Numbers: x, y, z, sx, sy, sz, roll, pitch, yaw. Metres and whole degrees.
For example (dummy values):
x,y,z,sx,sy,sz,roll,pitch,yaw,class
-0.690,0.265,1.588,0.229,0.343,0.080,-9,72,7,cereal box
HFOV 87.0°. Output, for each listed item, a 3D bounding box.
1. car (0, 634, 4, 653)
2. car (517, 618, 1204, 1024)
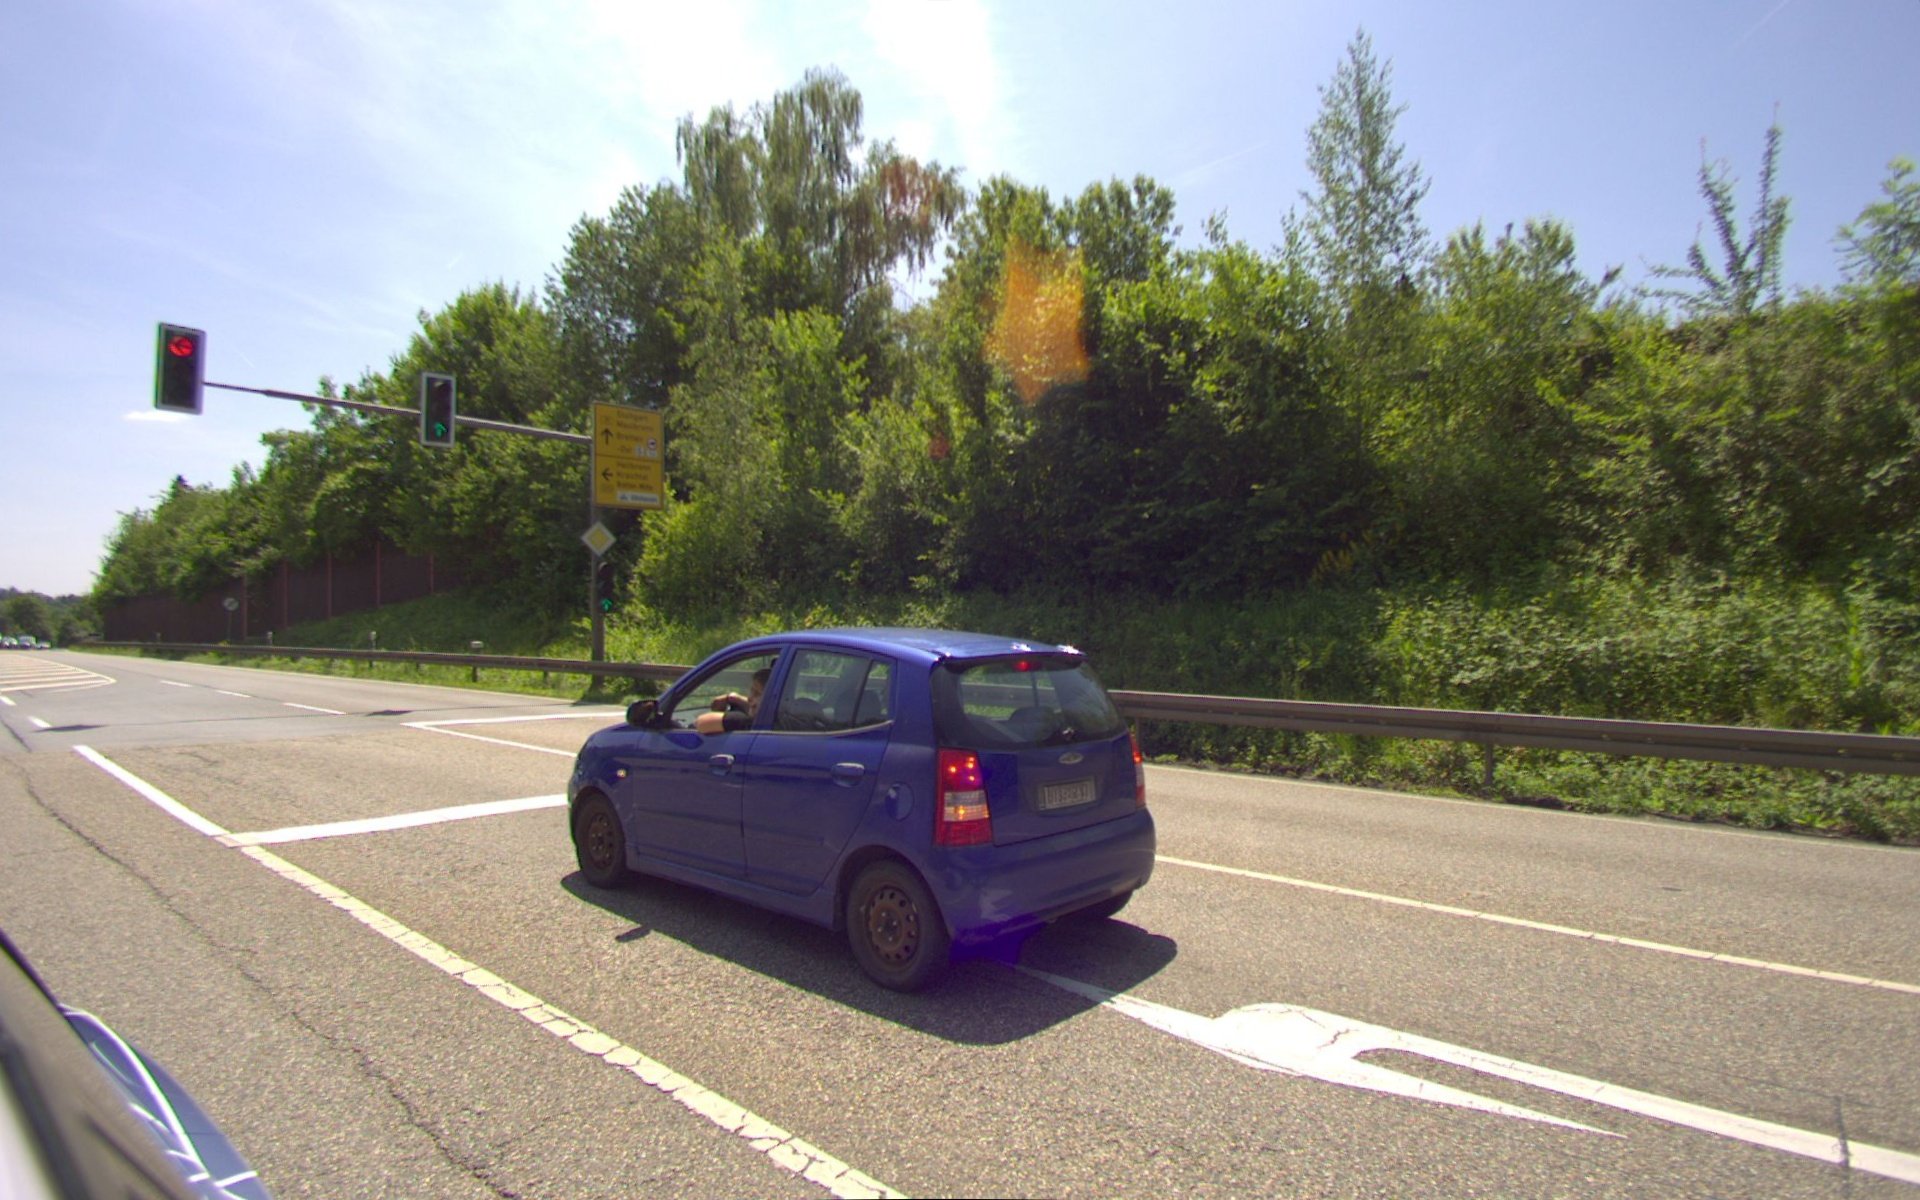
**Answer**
x,y,z,sx,sy,sz,roll,pitch,yaw,class
-93.004,4.151,96.974,1.970,1.780,4.003,1,-2,-44,car
-0.761,0.855,5.477,3.768,1.451,1.550,-2,-3,41,car
